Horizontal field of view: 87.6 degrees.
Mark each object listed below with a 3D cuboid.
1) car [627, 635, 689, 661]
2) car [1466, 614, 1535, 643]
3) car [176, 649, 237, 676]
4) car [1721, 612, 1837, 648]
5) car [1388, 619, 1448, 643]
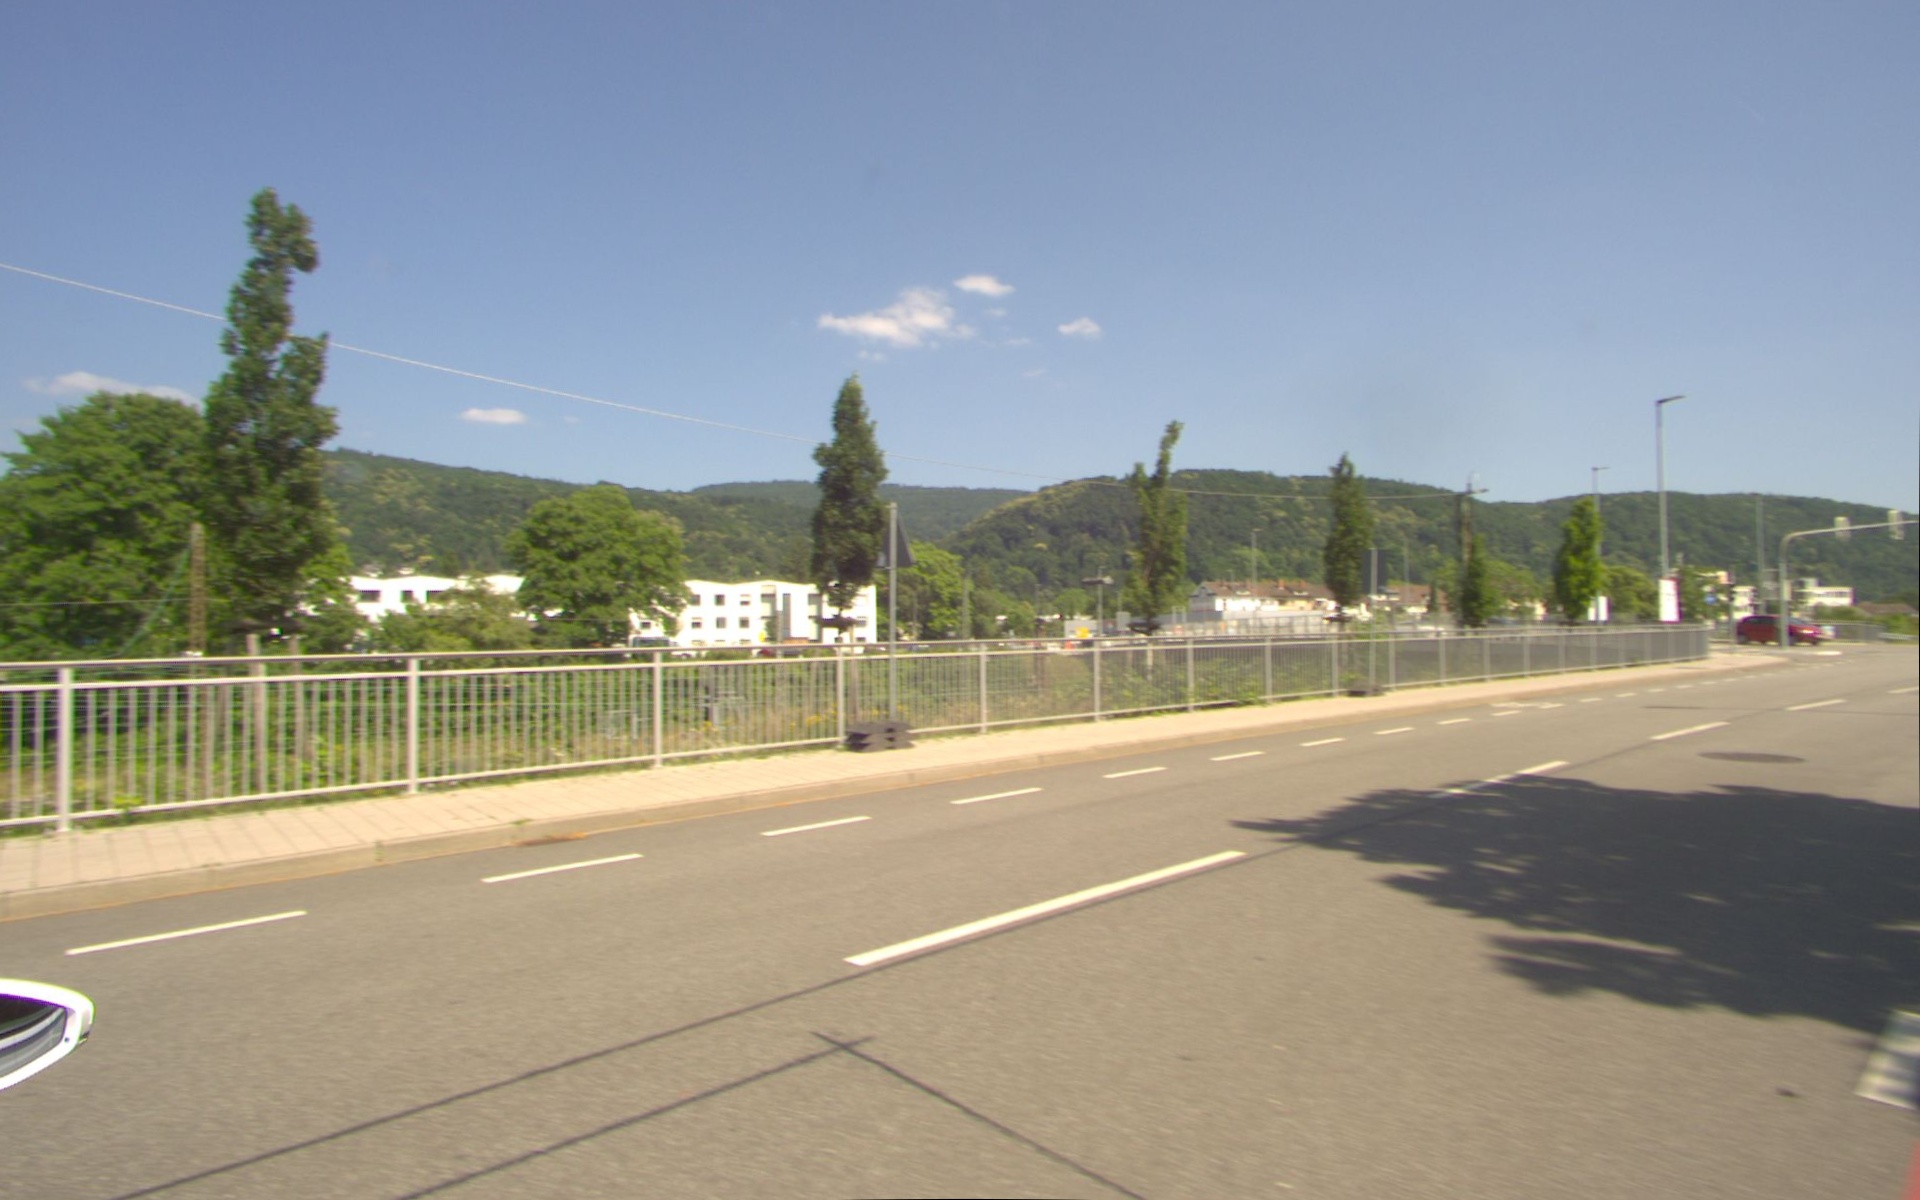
[{"bbox_3d":[-29.514,4.705,97.927,5.442,2.126,2.127,-1,-6,-32],"label":"car"},{"bbox_3d":[37.944,2.051,70.443,1.798,1.872,4.368,-4,-1,-12],"label":"car"},{"bbox_3d":[-64.992,5.376,86.453,3.871,2.037,1.752,-2,-5,-25],"label":"car"},{"bbox_3d":[42.811,1.612,52.474,1.799,1.700,4.366,-4,-1,-16],"label":"car"},{"bbox_3d":[35.856,2.445,78.535,1.797,1.673,4.766,-4,-1,-11],"label":"car"}]
